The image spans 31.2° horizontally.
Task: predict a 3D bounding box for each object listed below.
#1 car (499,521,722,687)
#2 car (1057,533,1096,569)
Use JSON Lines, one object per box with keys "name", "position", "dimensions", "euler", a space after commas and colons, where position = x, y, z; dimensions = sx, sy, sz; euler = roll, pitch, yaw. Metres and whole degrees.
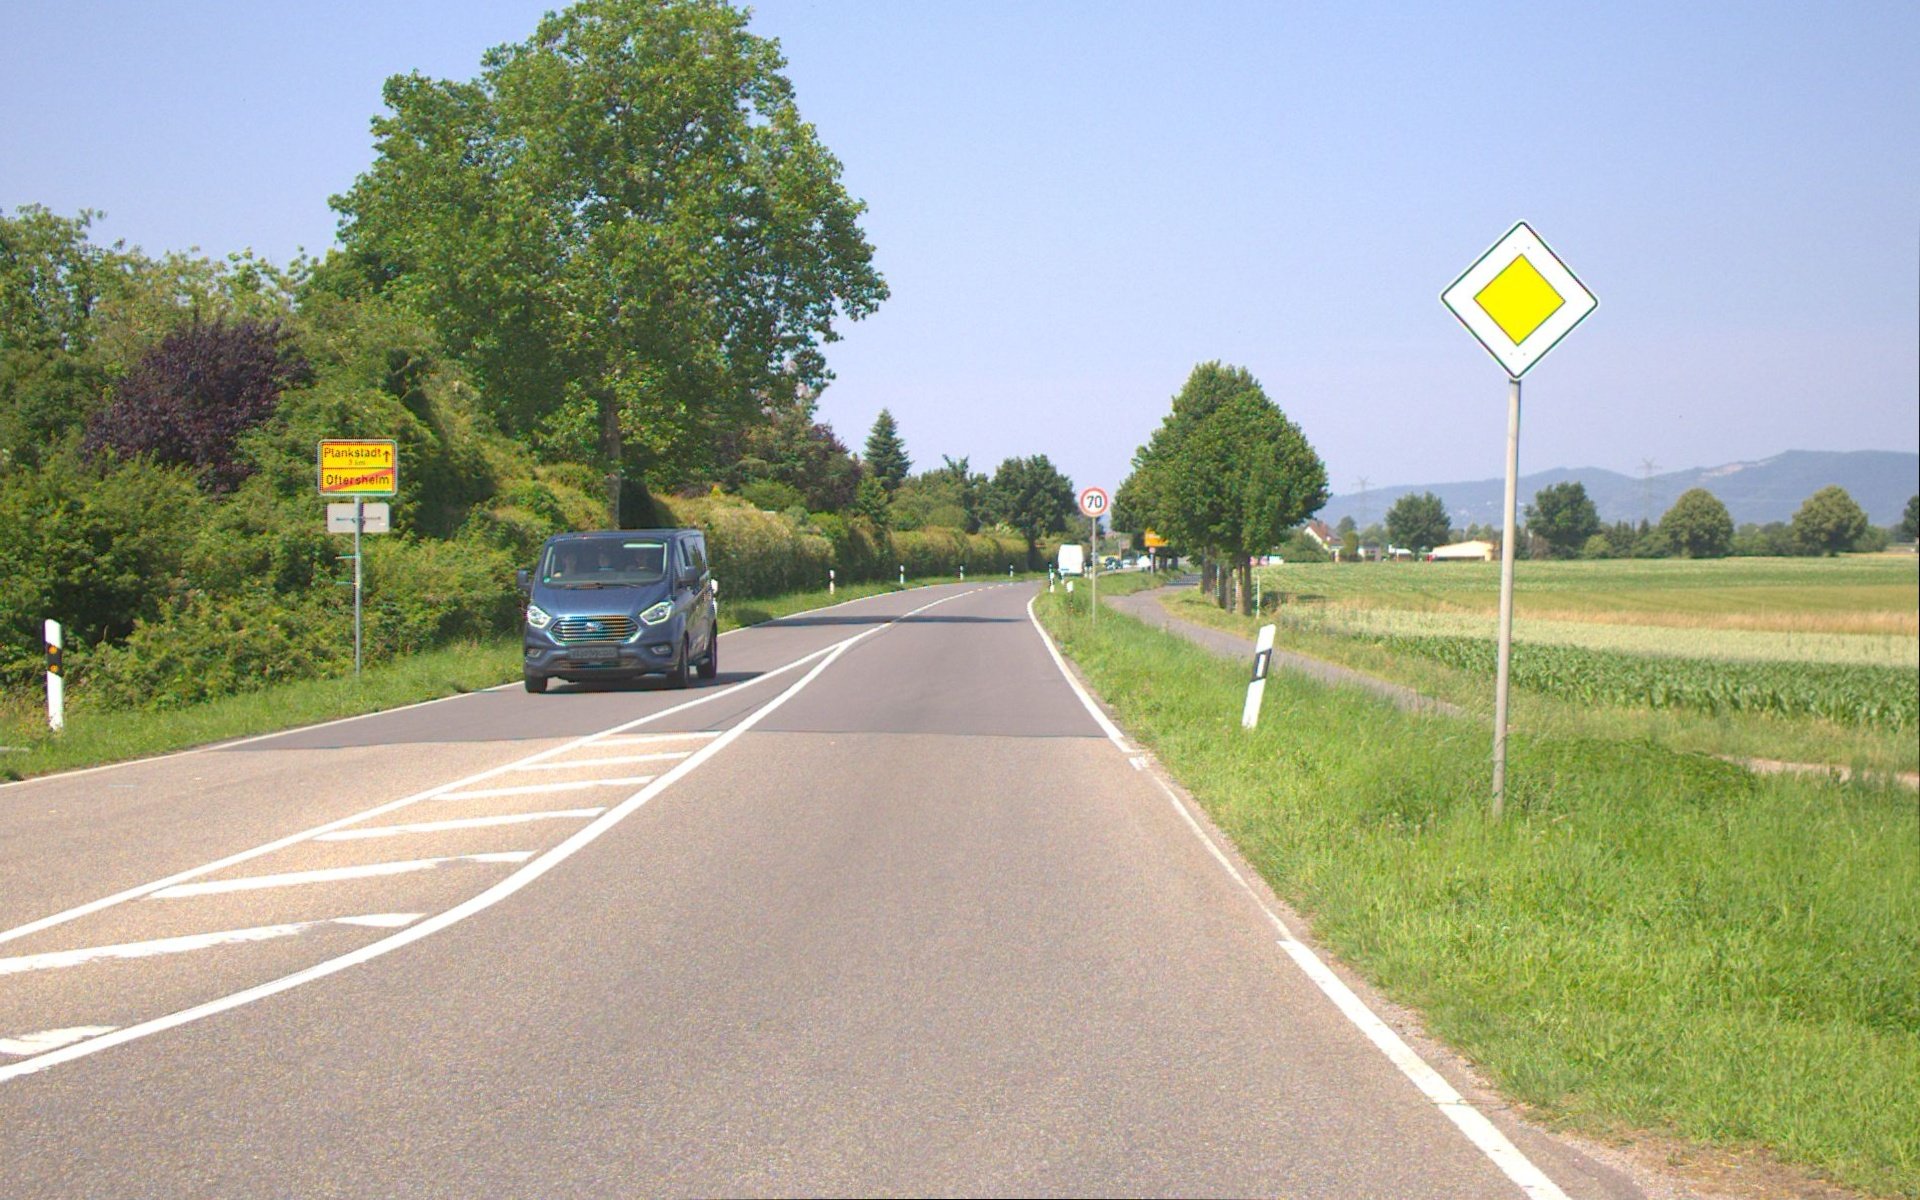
{"name": "car", "position": [-4.340, -0.010, 43.497], "dimensions": [2.144, 1.944, 5.247], "euler": [-1, 1, 1]}
{"name": "car", "position": [8.866, -3.731, 261.623], "dimensions": [1.995, 2.642, 3.997], "euler": [-1, 1, 17]}
